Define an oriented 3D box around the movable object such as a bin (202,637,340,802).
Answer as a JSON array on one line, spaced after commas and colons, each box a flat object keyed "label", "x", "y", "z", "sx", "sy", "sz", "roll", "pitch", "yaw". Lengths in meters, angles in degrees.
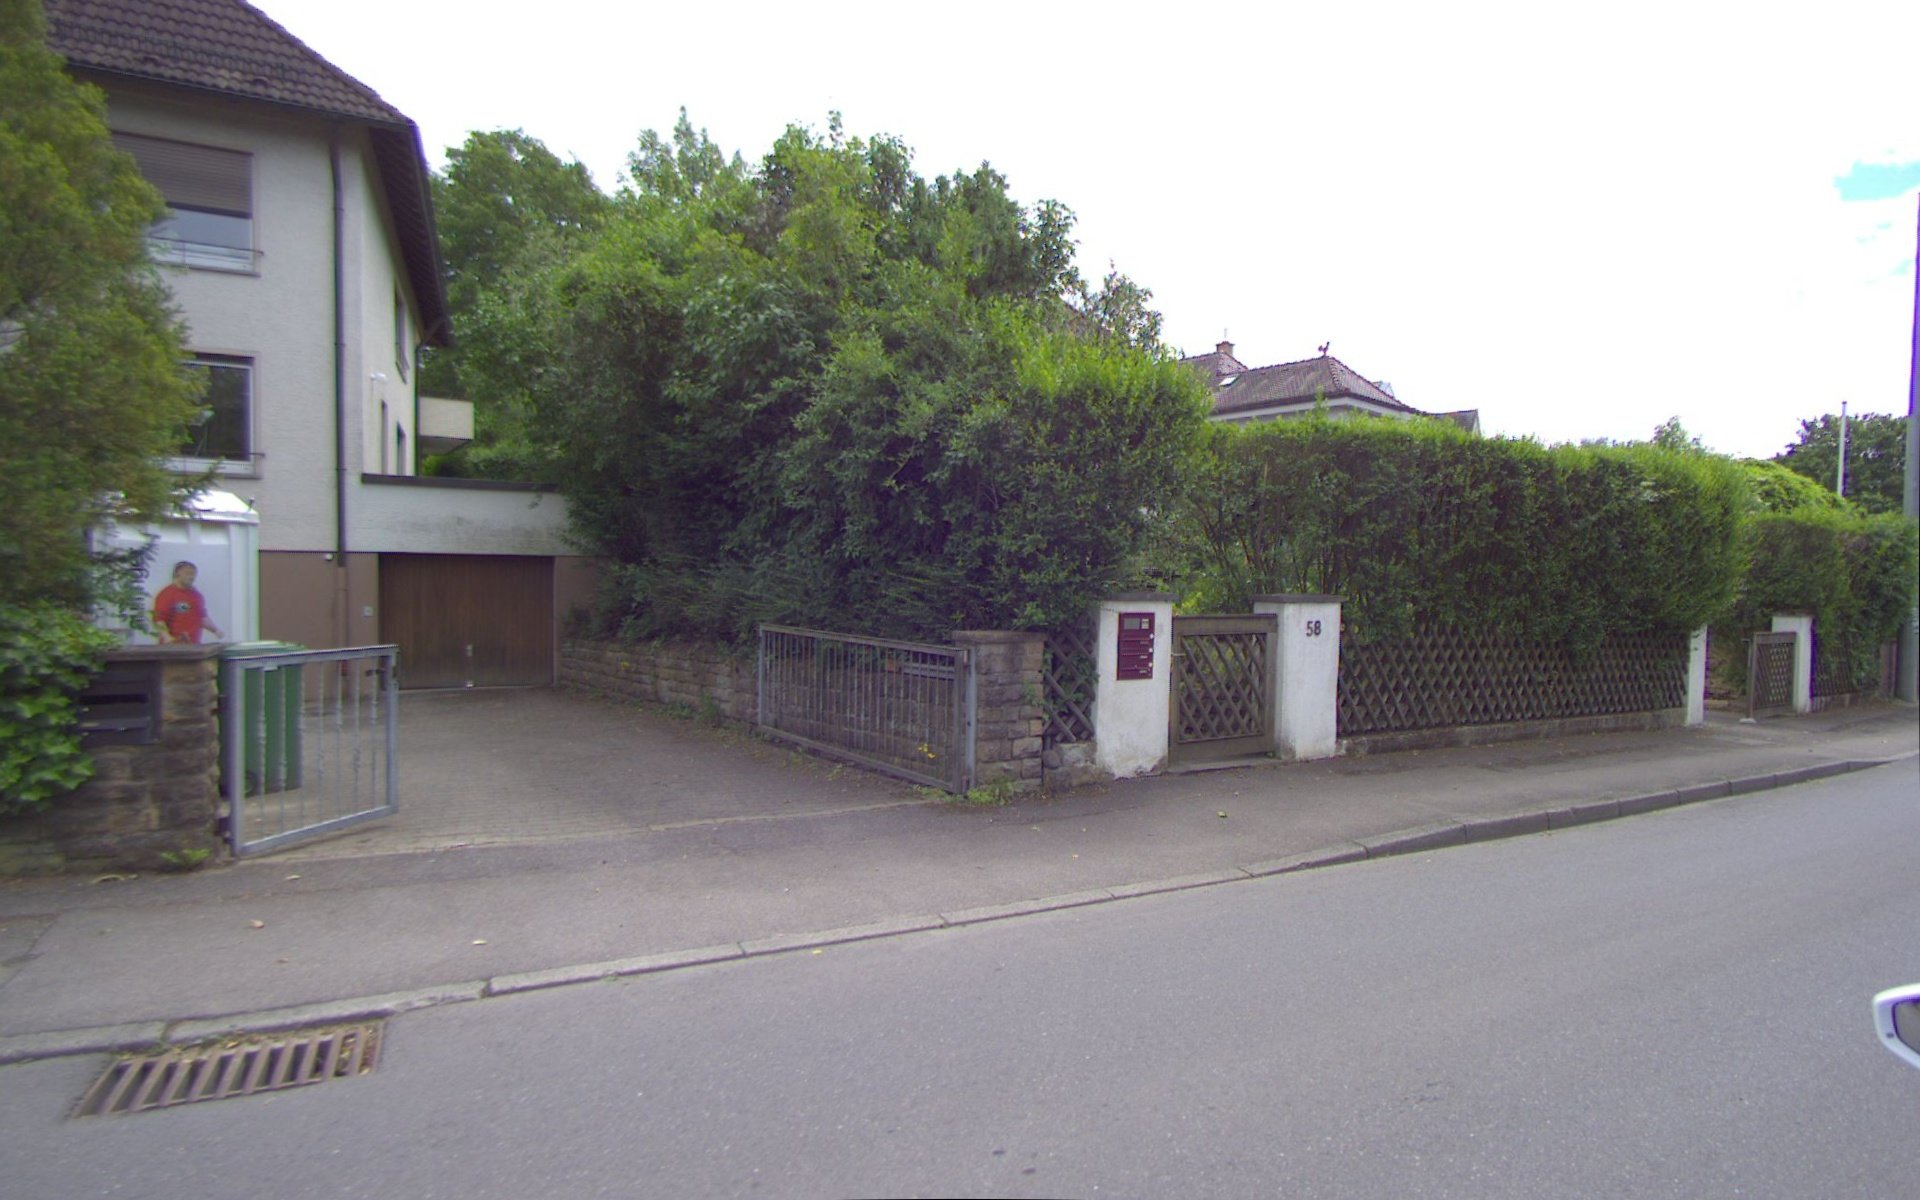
[{"label": "movable object such as a bin", "x": -5.055, "y": 0.843, "z": 7.378, "sx": 0.648, "sy": 1.103, "sz": 0.616, "roll": 0, "pitch": 1, "yaw": 33}]
